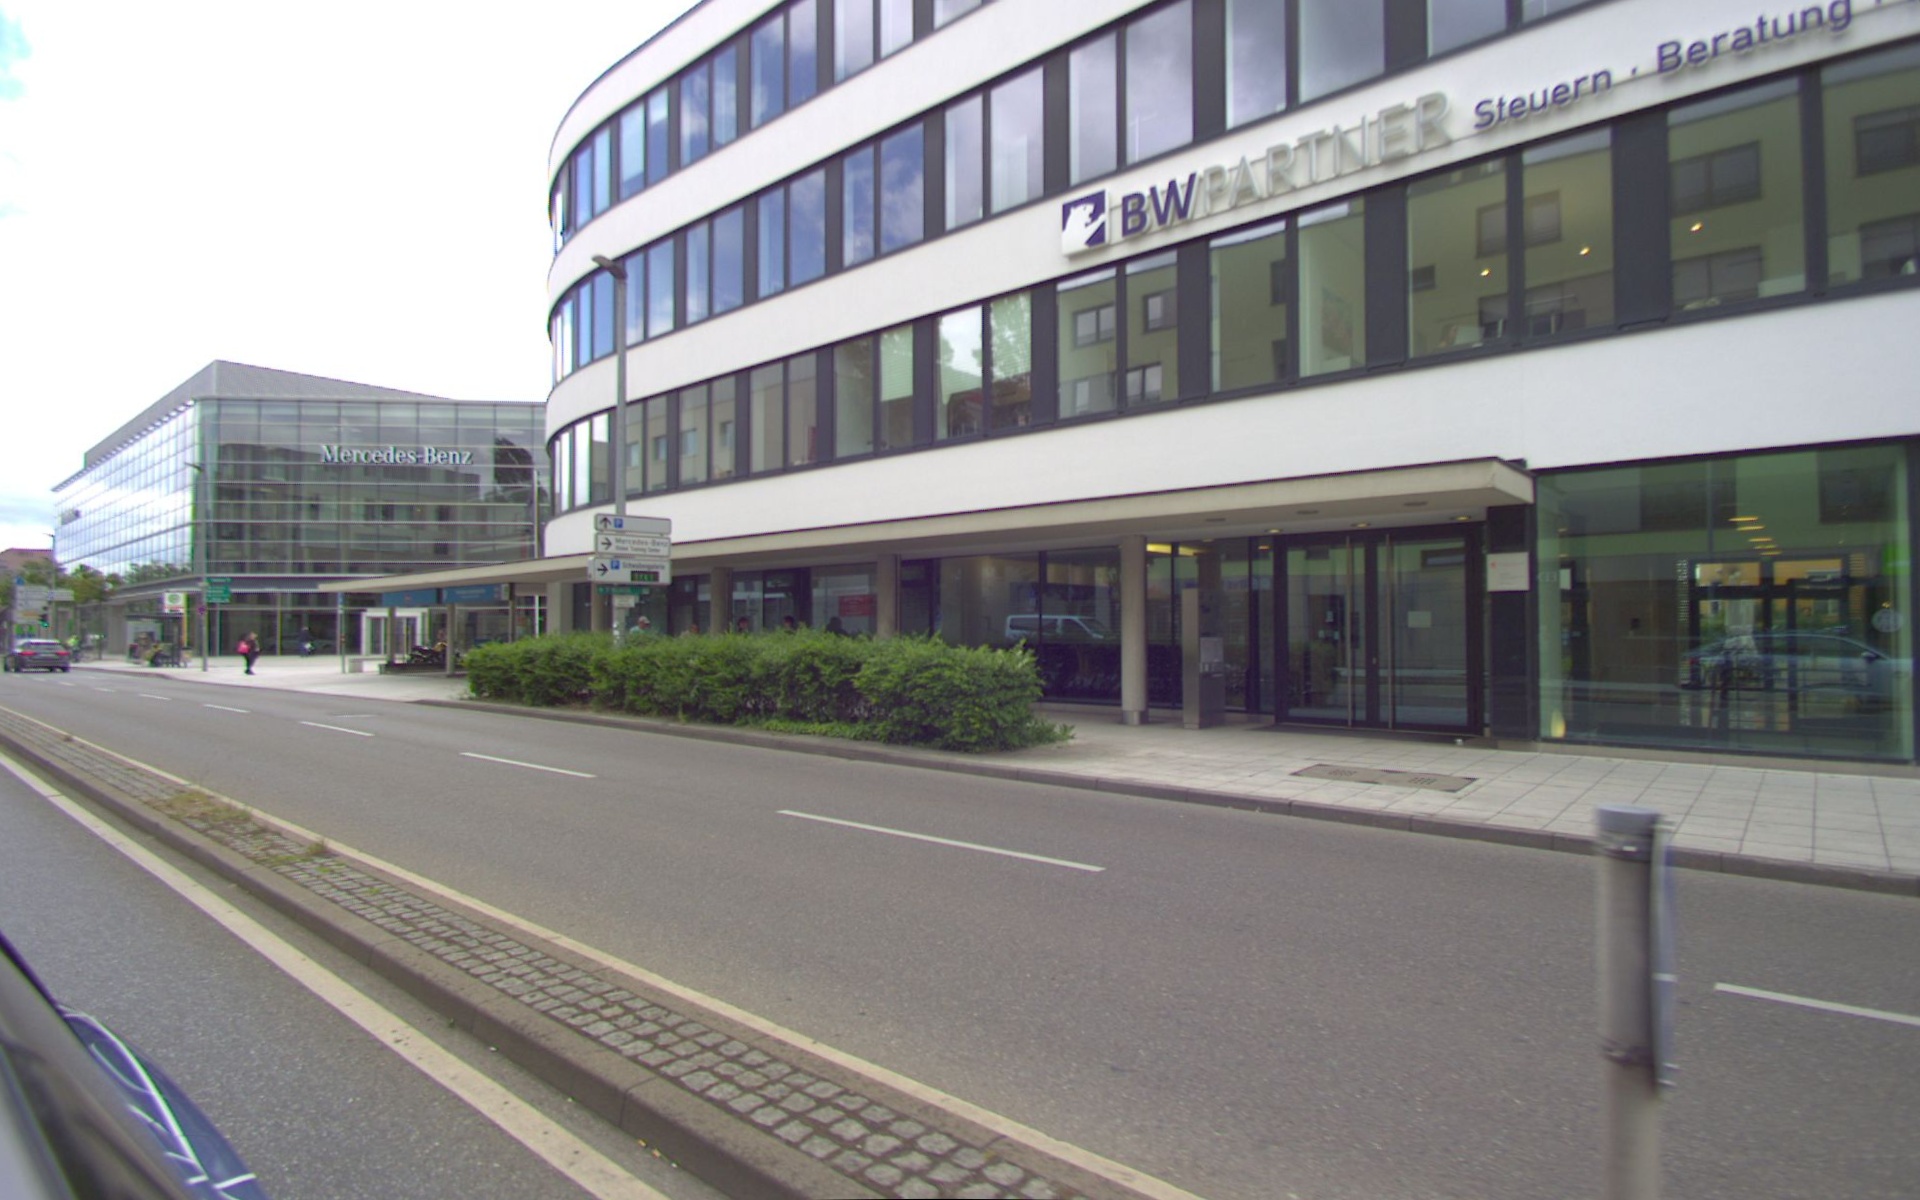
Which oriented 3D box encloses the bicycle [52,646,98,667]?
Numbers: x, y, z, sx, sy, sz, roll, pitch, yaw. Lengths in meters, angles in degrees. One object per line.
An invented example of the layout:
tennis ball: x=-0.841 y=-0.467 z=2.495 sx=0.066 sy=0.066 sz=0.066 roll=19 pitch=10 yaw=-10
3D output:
bicycle: x=-53.176 y=3.404 z=60.839 sx=1.973 sy=1.139 sz=0.640 roll=-2 pitch=0 yaw=-34

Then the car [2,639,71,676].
car: x=-40.608 y=2.480 z=44.459 sx=4.471 sy=1.426 sz=1.876 roll=-2 pitch=0 yaw=43

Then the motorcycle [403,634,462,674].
motorcycle: x=-19.598 y=1.995 z=37.629 sx=0.636 sy=1.343 sz=1.833 roll=-2 pitch=0 yaw=45

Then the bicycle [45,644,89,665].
bicycle: x=-55.340 y=3.366 z=62.727 sx=2.000 sy=1.215 sz=0.748 roll=-2 pitch=0 yaw=-4

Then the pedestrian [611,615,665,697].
pedestrian: x=-6.928 y=1.191 z=21.791 sx=0.931 sy=1.686 sz=0.722 roll=-2 pitch=-1 yaw=43

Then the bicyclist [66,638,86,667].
bicyclist: x=-53.162 y=3.142 z=60.863 sx=0.771 sy=1.661 sz=0.640 roll=-2 pitch=0 yaw=-34

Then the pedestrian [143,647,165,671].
pedestrian: x=-38.353 y=2.803 z=48.147 sx=0.576 sy=1.084 sz=0.677 roll=-2 pitch=-4 yaw=40

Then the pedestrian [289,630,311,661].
pedestrian: x=-41.584 y=2.864 z=63.777 sx=0.740 sy=1.960 sz=0.902 roll=-1 pitch=-1 yaw=3

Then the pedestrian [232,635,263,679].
pedestrian: x=-26.516 y=2.099 z=37.644 sx=0.820 sy=1.579 sz=0.814 roll=-1 pitch=-1 yaw=-43

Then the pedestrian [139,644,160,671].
pedestrian: x=-38.834 y=2.766 z=48.507 sx=0.576 sy=1.263 sz=0.677 roll=-2 pitch=-3 yaw=40

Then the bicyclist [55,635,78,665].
bicyclist: x=-55.373 y=3.082 z=62.727 sx=0.762 sy=1.813 sz=0.748 roll=-2 pitch=0 yaw=-5

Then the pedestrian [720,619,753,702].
pedestrian: x=-4.765 y=1.277 z=21.582 sx=0.501 sy=1.723 sz=0.613 roll=-1 pitch=-2 yaw=11

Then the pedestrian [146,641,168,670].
pedestrian: x=-37.850 y=2.604 z=47.711 sx=0.576 sy=1.330 sz=0.677 roll=-2 pitch=-4 yaw=40

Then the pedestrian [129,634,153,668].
pedestrian: x=-39.464 y=2.462 z=48.763 sx=0.568 sy=1.644 sz=0.686 roll=0 pitch=-2 yaw=1

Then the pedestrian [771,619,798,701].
pedestrian: x=-3.785 y=1.275 z=21.836 sx=0.497 sy=1.743 sz=0.617 roll=0 pitch=-2 yaw=-17

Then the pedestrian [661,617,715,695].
pedestrian: x=-5.902 y=1.205 z=21.943 sx=0.931 sy=1.625 sz=0.722 roll=-2 pitch=-1 yaw=43

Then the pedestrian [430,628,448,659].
pedestrian: x=-33.249 y=2.765 z=64.558 sx=0.747 sy=1.960 sz=0.680 roll=-2 pitch=-1 yaw=28
